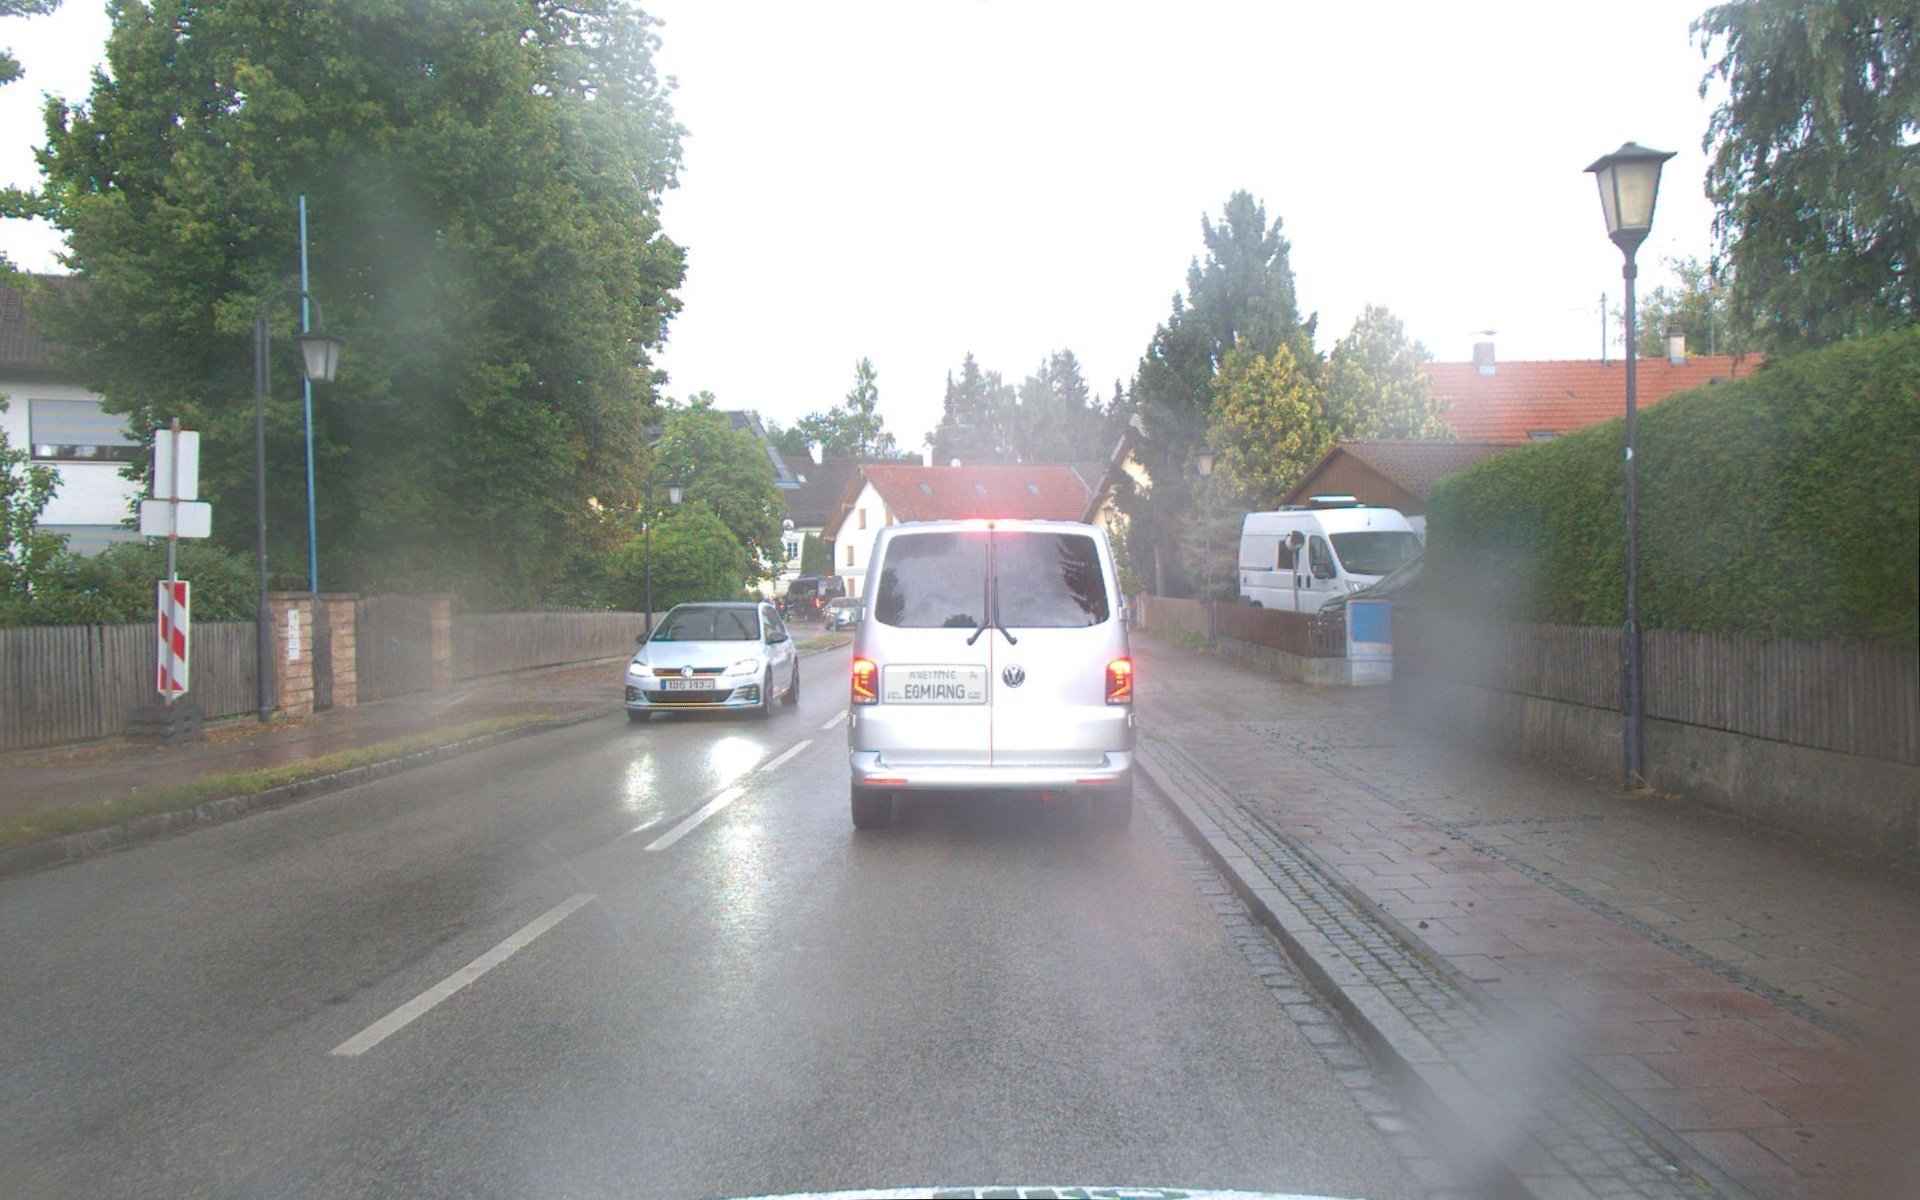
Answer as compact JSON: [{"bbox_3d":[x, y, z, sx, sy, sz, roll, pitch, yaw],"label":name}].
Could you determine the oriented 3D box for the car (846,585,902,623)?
[{"bbox_3d":[-4.739,0.232,90.947,1.964,2.049,3.976,1,-1,-20],"label":"car"}]

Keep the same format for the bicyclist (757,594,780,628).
[{"bbox_3d":[-5.844,0.341,50.522,0.575,1.039,1.060,0,0,0],"label":"bicyclist"}]

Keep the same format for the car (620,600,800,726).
[{"bbox_3d":[-3.160,0.767,21.612,1.681,1.467,4.000,1,-1,0],"label":"car"}]

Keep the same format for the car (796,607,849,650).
[{"bbox_3d":[-4.805,0.986,58.133,1.585,1.470,3.670,0,-1,-1],"label":"car"}]

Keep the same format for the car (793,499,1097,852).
[{"bbox_3d":[0.020,0.464,11.749,1.763,2.049,4.001,1,-1,3],"label":"car"}]

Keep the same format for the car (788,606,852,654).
[{"bbox_3d":[-4.395,0.933,52.327,1.584,1.470,3.671,0,-1,2],"label":"car"}]

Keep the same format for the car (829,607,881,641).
[{"bbox_3d":[-5.159,1.177,80.877,1.796,1.586,4.162,-1,-1,-14],"label":"car"}]

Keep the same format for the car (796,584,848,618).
[{"bbox_3d":[-8.256,0.077,98.763,1.966,1.961,3.973,1,-1,-22],"label":"car"}]

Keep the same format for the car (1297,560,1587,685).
[{"bbox_3d":[7.458,0.314,25.792,4.011,1.782,1.694,-1,2,-3],"label":"car"}]

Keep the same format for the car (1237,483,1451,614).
[{"bbox_3d":[7.034,-0.865,30.891,1.959,2.212,4.937,1,-1,-12],"label":"car"}]

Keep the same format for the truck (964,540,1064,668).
[{"bbox_3d":[1.363,0.123,44.109,2.425,3.128,6.296,1,-1,0],"label":"truck"}]

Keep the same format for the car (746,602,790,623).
[{"bbox_3d":[-12.786,0.823,110.116,1.759,1.333,3.743,1,-1,-26],"label":"car"}]
